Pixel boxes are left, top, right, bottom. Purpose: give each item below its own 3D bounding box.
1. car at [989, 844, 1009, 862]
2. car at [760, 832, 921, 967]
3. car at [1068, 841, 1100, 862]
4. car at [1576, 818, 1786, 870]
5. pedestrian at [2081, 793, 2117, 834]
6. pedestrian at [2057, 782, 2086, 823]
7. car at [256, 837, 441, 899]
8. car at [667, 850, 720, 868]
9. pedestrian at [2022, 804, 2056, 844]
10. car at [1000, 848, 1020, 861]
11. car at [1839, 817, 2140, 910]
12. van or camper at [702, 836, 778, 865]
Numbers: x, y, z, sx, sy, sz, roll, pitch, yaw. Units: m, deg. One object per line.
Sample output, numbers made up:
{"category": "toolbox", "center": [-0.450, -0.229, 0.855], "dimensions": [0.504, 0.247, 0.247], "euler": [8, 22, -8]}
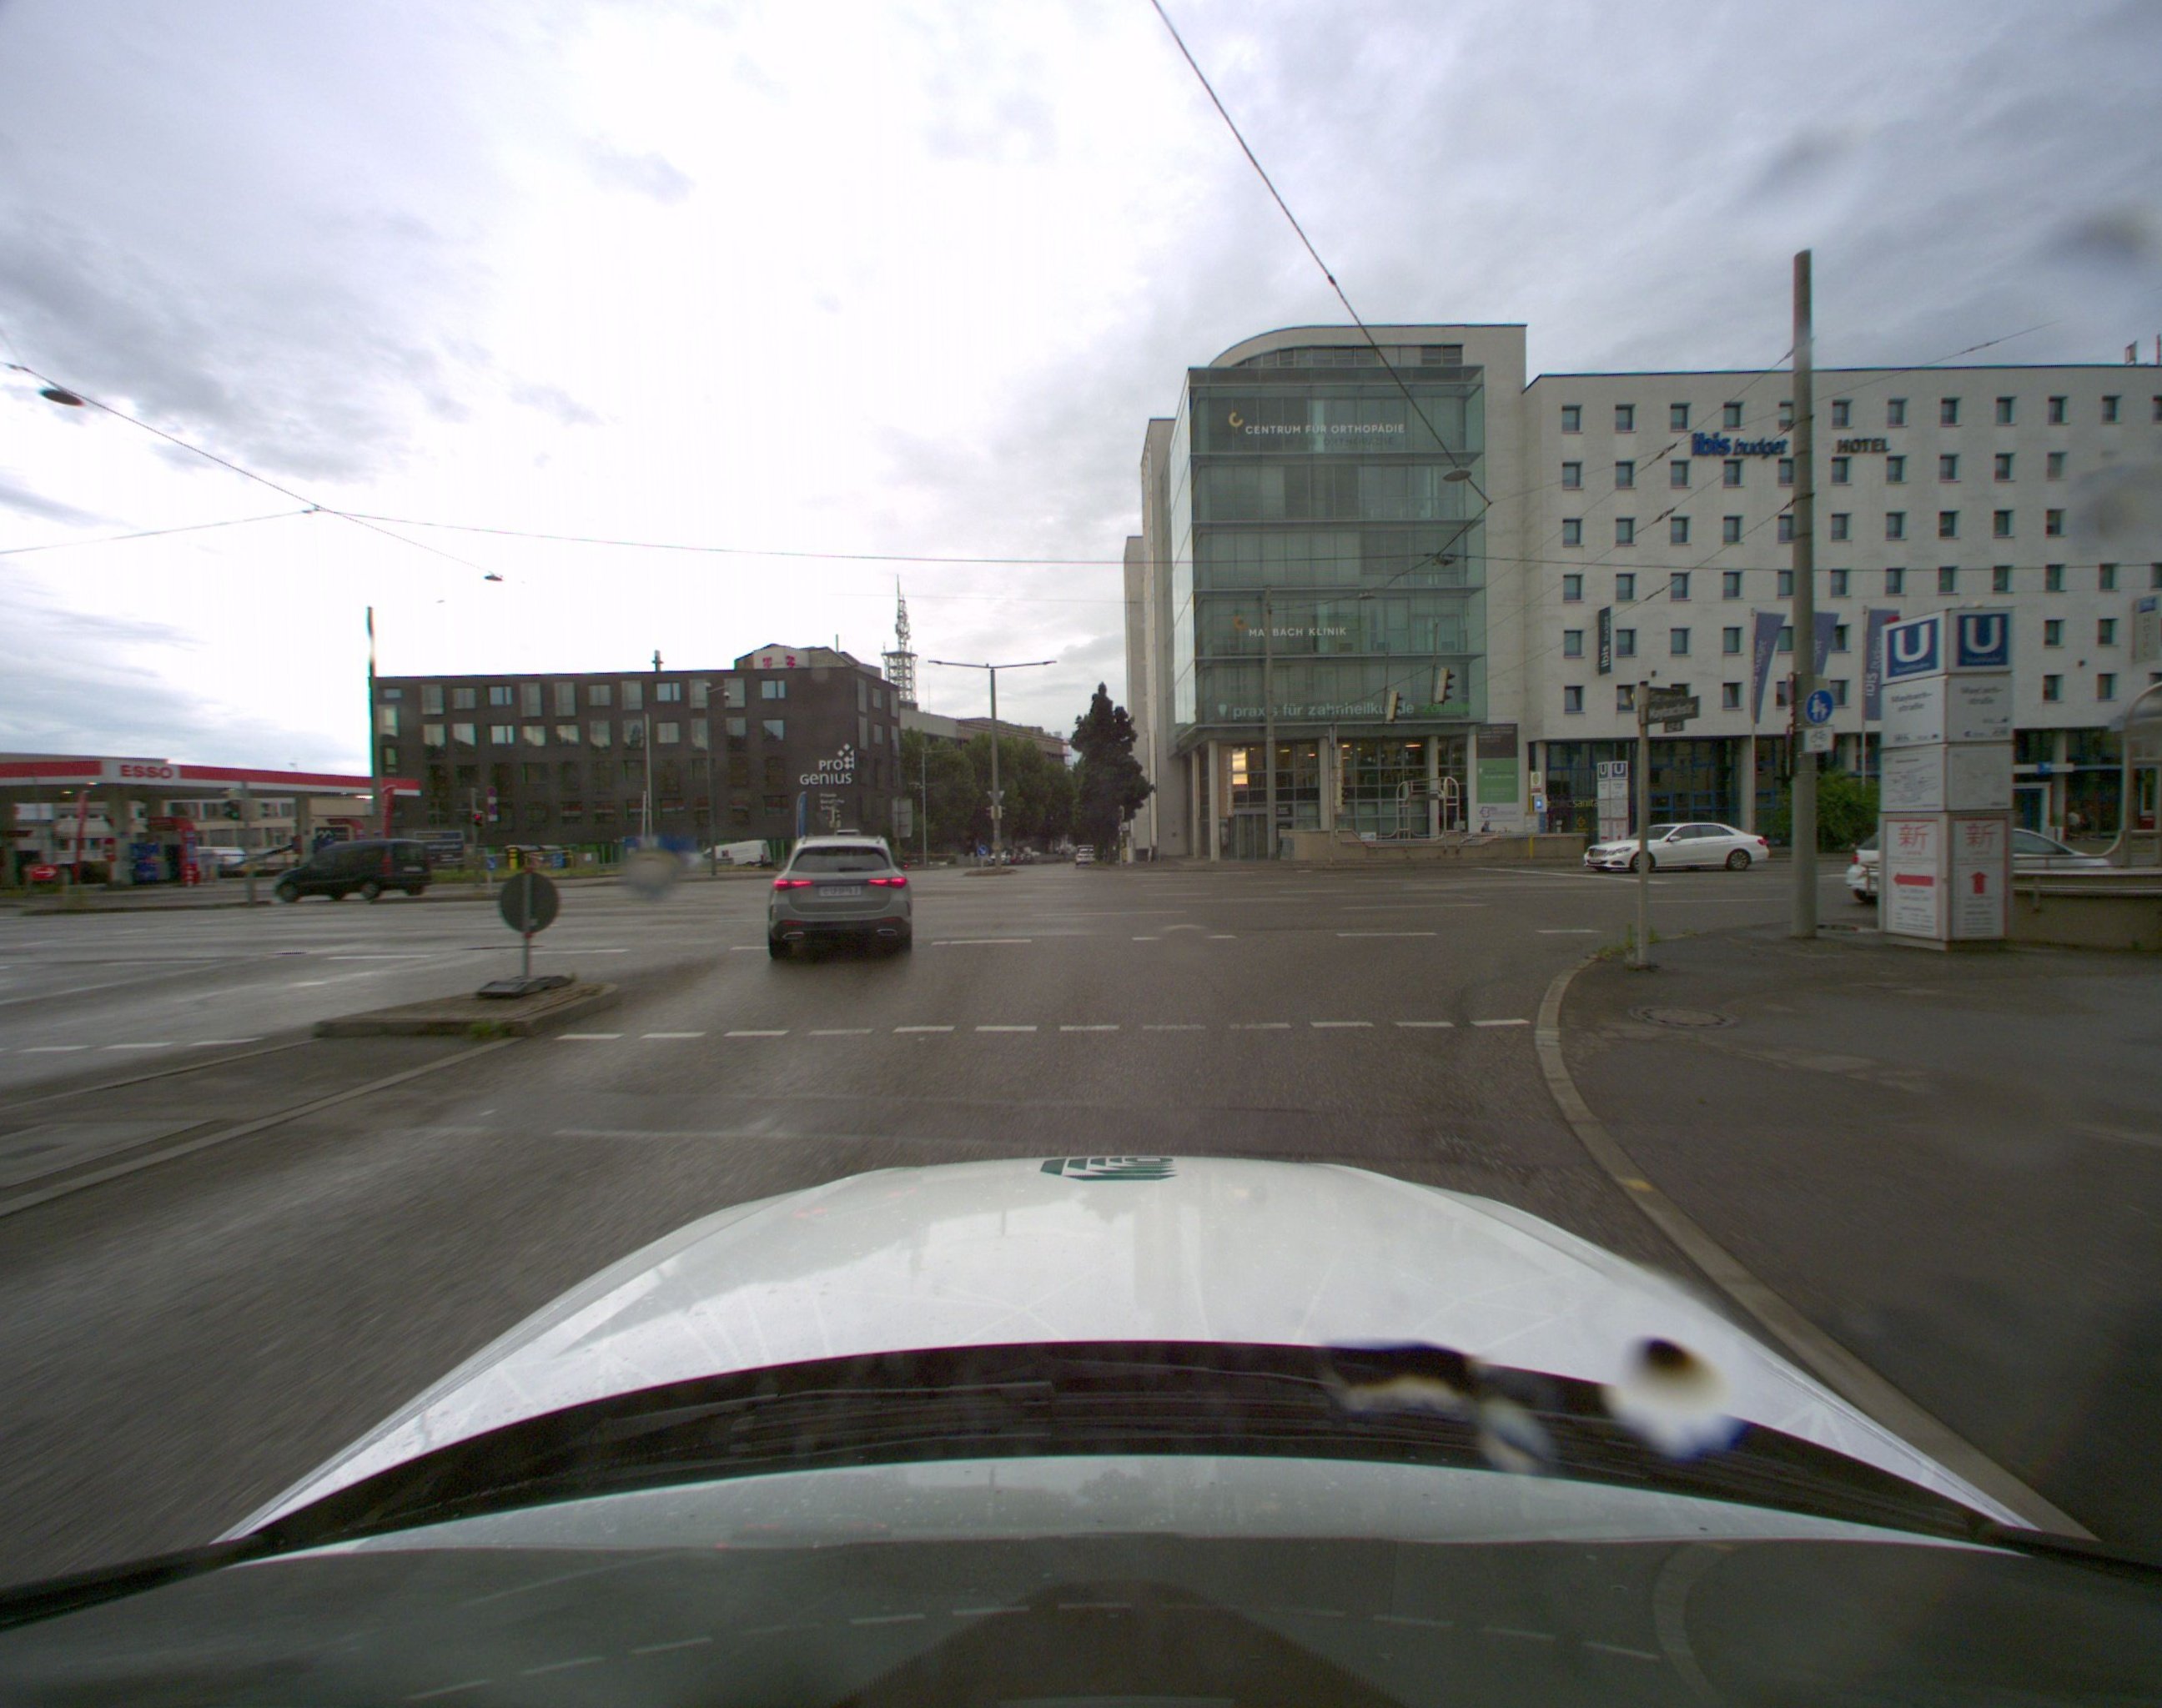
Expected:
{"category": "car", "center": [-9.471, -0.086, 94.341], "dimensions": [1.987, 2.013, 3.999], "euler": [1, 0, -1]}
{"category": "car", "center": [-3.607, 0.496, 12.303], "dimensions": [1.913, 1.631, 4.187], "euler": [-2, 2, -17]}
{"category": "car", "center": [0.215, -0.251, 69.104], "dimensions": [1.994, 1.717, 3.987], "euler": [1, 0, -10]}
{"category": "car", "center": [17.547, -0.314, 23.965], "dimensions": [4.933, 1.387, 1.822], "euler": [-1, 2, -2]}
{"category": "pedestrian", "center": [51.677, -2.034, 41.335], "dimensions": [0.889, 2.013, 0.820], "euler": [1, 0, 29]}
{"category": "pedestrian", "center": [50.297, -2.584, 41.361], "dimensions": [0.807, 2.013, 0.808], "euler": [1, 0, -29]}
{"category": "car", "center": [-22.622, 0.407, 25.258], "dimensions": [4.100, 1.768, 1.860], "euler": [-1, 1, 3]}
{"category": "car", "center": [-28.863, 0.342, 60.775], "dimensions": [1.788, 1.288, 4.004], "euler": [1, 0, 4]}
{"category": "pedestrian", "center": [48.691, -1.521, 41.405], "dimensions": [0.810, 2.013, 0.805], "euler": [1, 0, 0]}
{"category": "car", "center": [-8.640, 0.070, 99.508], "dimensions": [1.671, 1.594, 3.863], "euler": [1, 0, 6]}
{"category": "car", "center": [16.140, 0.121, 14.579], "dimensions": [3.760, 1.473, 1.674], "euler": [-1, 3, -5]}
{"category": "van or camper", "center": [-29.424, -0.325, 70.456], "dimensions": [5.314, 2.368, 2.738], "euler": [1, 0, -1]}
